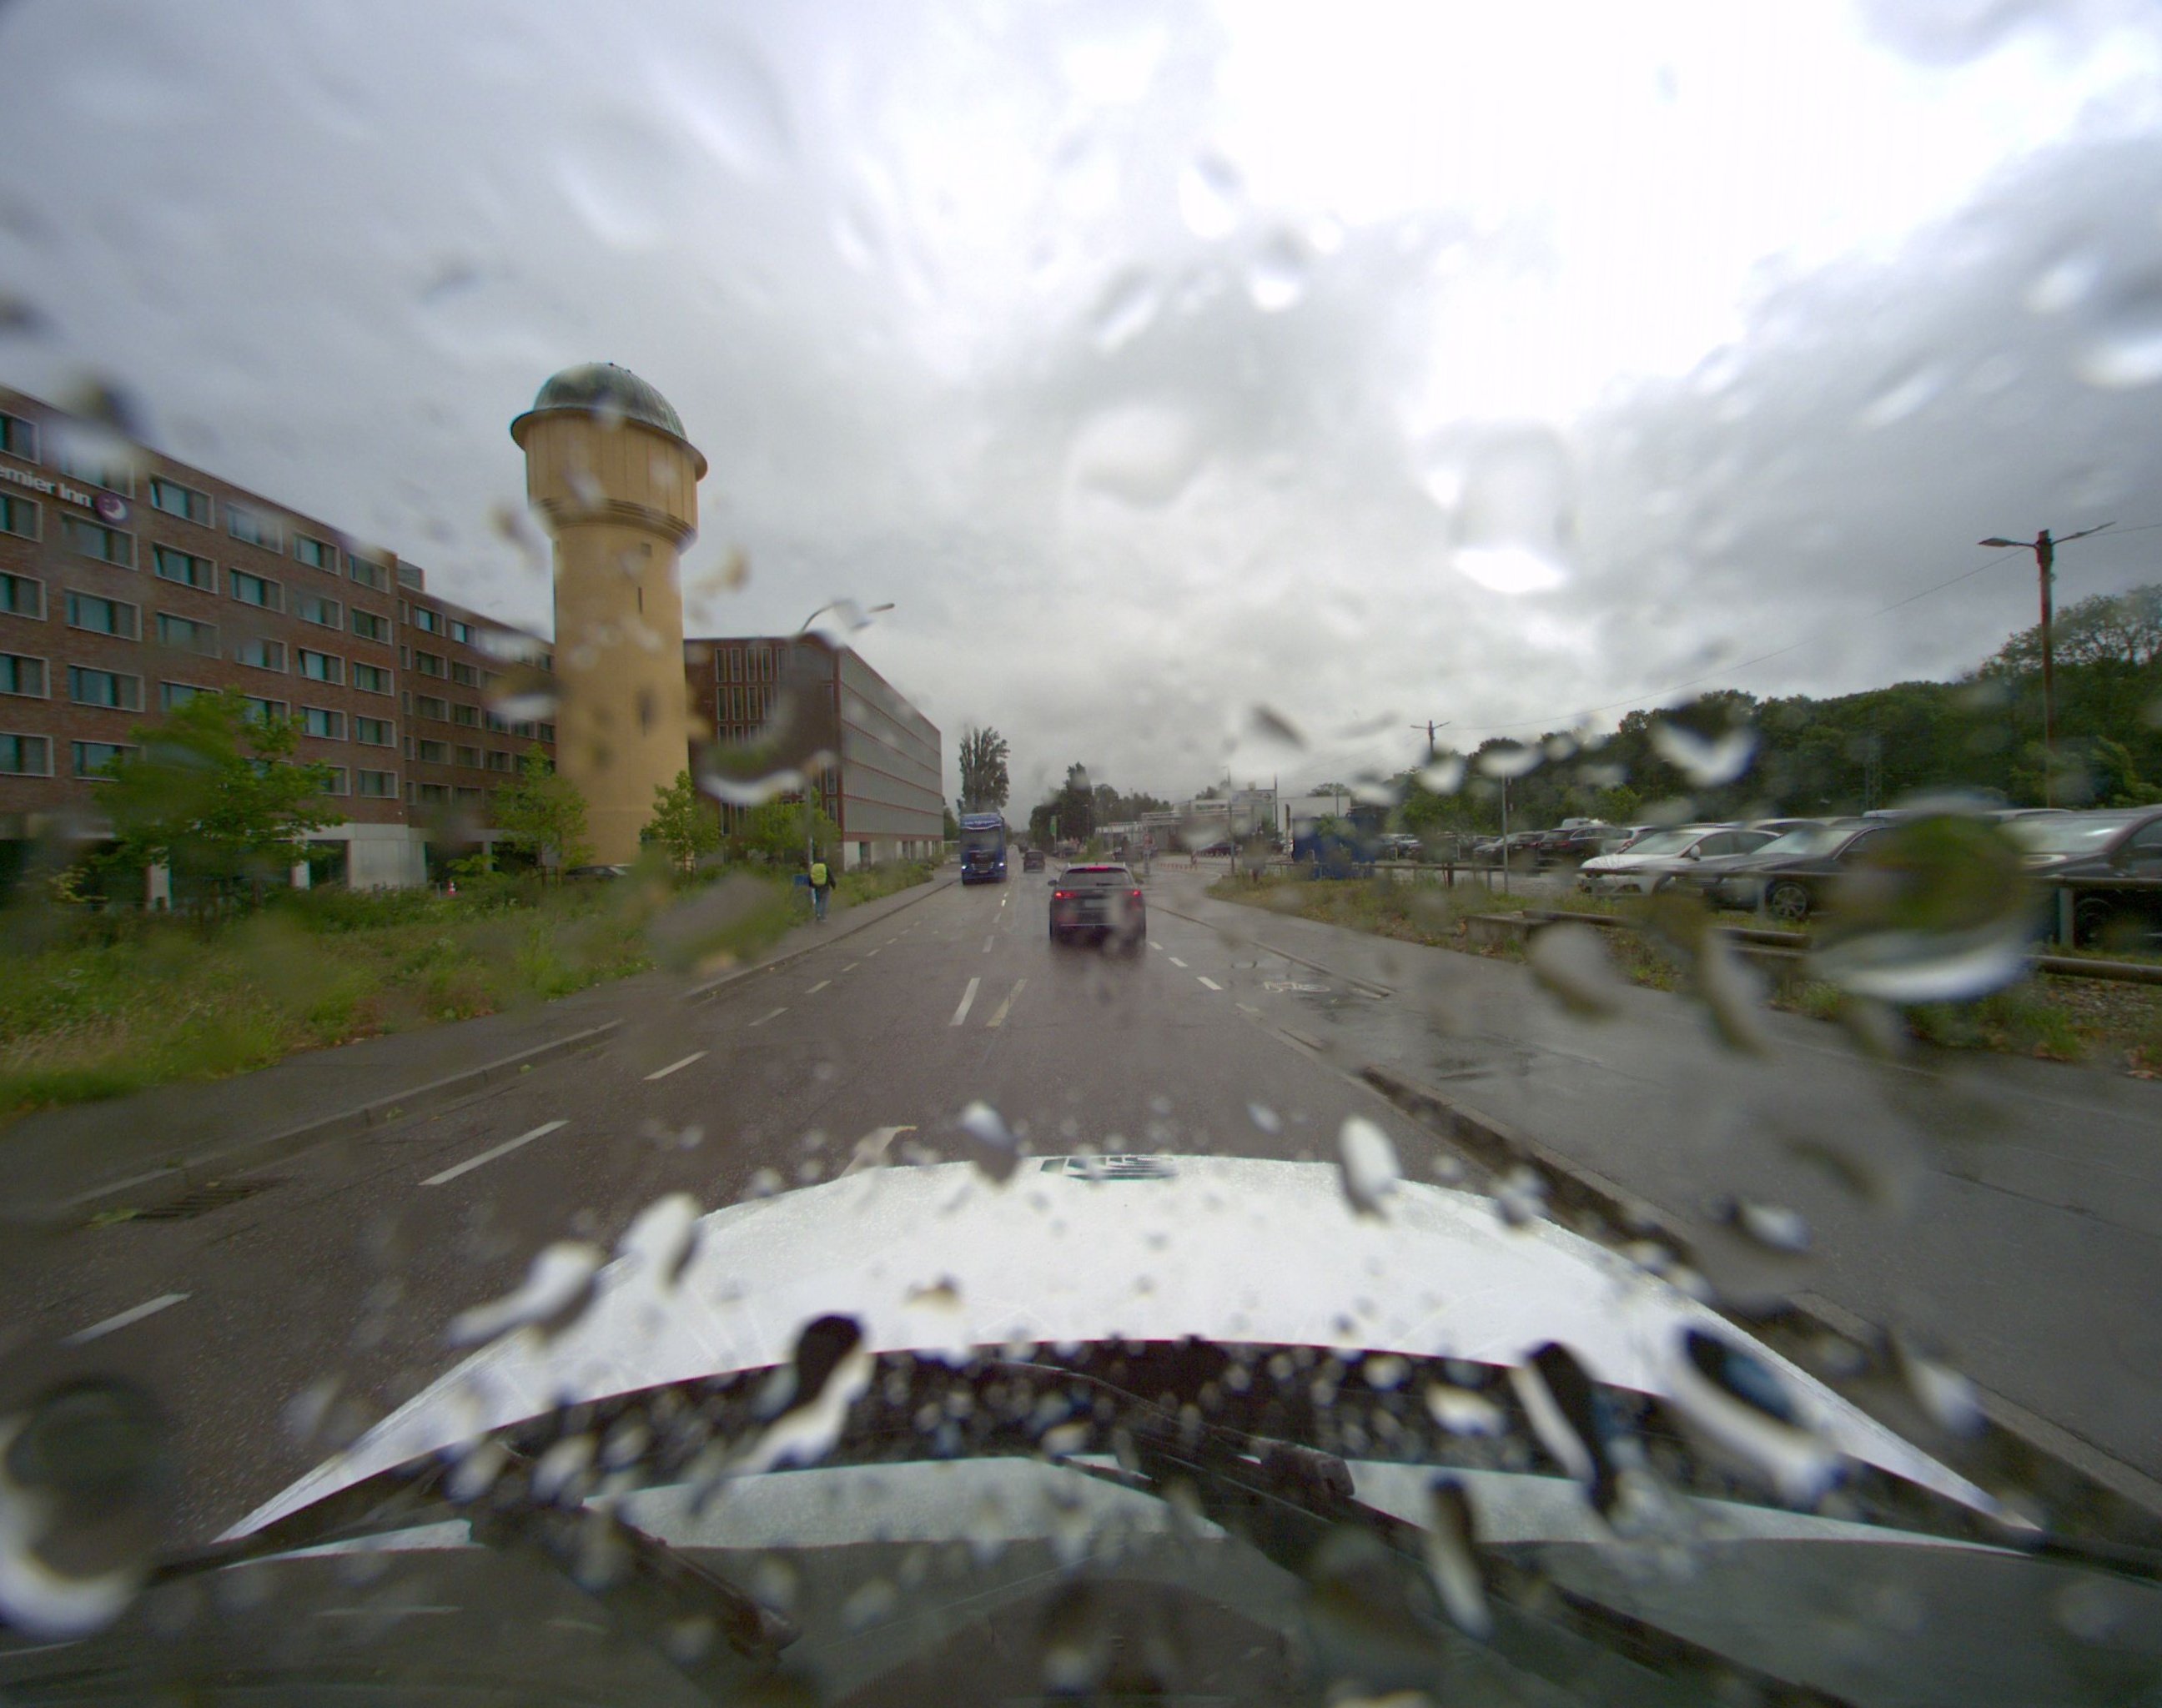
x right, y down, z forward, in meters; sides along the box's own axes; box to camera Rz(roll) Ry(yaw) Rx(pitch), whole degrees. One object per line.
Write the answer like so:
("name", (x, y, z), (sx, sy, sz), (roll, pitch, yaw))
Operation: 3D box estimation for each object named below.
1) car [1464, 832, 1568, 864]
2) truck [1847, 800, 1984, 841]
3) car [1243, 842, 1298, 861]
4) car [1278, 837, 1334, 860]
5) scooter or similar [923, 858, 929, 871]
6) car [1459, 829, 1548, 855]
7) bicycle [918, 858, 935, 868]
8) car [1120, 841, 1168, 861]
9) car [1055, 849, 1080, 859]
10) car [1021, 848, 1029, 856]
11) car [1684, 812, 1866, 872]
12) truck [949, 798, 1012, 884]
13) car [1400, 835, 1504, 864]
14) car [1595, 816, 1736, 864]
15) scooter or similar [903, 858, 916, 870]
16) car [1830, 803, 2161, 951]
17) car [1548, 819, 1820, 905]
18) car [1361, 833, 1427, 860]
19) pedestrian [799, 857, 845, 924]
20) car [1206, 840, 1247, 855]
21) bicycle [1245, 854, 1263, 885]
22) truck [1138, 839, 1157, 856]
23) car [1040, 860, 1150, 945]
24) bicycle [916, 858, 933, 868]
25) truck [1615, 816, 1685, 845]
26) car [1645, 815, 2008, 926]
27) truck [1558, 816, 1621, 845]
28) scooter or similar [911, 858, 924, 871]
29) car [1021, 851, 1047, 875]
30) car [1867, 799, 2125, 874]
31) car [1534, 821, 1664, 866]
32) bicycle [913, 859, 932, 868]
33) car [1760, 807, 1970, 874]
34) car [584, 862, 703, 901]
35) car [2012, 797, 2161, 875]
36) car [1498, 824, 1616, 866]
("car", (19.941, -0.253, 37.421), (3.875, 1.221, 1.648), (-4, -1, 0))
("truck", (46.216, -1.813, 45.317), (2.077, 2.013, 5.274), (-3, 1, -3))
("car", (17.771, -0.236, 76.386), (4.620, 1.716, 2.012), (-1, -1, -11))
("car", (17.978, -0.430, 65.097), (3.820, 1.484, 1.926), (-4, -1, -2))
("scooter or similar", (-14.777, 1.015, 77.582), (0.465, 1.230, 1.317), (-3, 1, -7))
("car", (23.632, -0.665, 45.583), (4.056, 1.071, 1.828), (-4, -1, -7))
("bicycle", (-17.777, 1.047, 93.605), (1.857, 1.077, 0.543), (0, 0, -6))
("car", (6.346, -0.271, 82.554), (4.666, 1.735, 2.127), (-3, -1, -1))
("car", (-2.182, -0.009, 131.081), (4.125, 1.569, 1.764), (-1, -1, -2))
("car", (-12.198, -0.365, 177.571), (1.725, 1.686, 3.894), (-2, 0, -2))
("car", (20.632, -0.350, 24.303), (3.943, 1.490, 1.776), (-4, -1, -3))
("truck", (-5.890, -0.723, 48.321), (3.290, 4.653, 6.020), (-2, 0, -6))
("car", (19.415, -0.230, 42.695), (4.581, 1.221, 1.974), (-4, -1, -6))
("car", (21.484, -0.504, 30.022), (3.943, 1.490, 1.776), (-4, -1, -3))
("scooter or similar", (-17.598, 1.052, 83.495), (1.221, 1.208, 0.418), (-3, 0, 2))
("car", (11.014, 0.206, 9.117), (3.892, 1.423, 1.775), (-1, -1, -7))
("car", (11.015, 0.139, 15.037), (3.768, 1.393, 1.901), (-1, -1, -7))
("car", (23.126, -0.536, 60.292), (4.052, 1.605, 1.924), (-4, -1, -4))
("pedestrian", (-6.945, 0.961, 21.896), (0.907, 1.718, 1.025), (-2, 0, -5))
("car", (15.691, -0.733, 87.821), (3.979, 1.485, 1.997), (-1, -1, -4))
("bicycle", (6.700, 0.586, 31.495), (0.503, 1.084, 1.710), (-3, 0, 16))
("truck", (11.411, -1.159, 140.549), (2.294, 2.659, 7.412), (-3, 1, -1))
("car", (0.296, 0.854, 16.243), (1.888, 1.456, 4.228), (-1, 0, 1))
("bicycle", (-17.799, 1.048, 92.737), (1.857, 1.077, 0.543), (0, 0, -6))
("truck", (45.667, -1.824, 65.507), (2.065, 2.138, 5.084), (-3, 1, 1))
("car", (10.892, 0.225, 12.070), (3.892, 1.423, 1.901), (-1, -1, -7))
("truck", (45.169, -2.013, 72.483), (2.069, 2.401, 5.076), (-3, 1, -5))
("scooter or similar", (-16.218, 1.030, 80.690), (0.461, 1.230, 1.216), (-2, 1, 38))
("car", (-4.015, 0.769, 69.407), (1.991, 1.910, 4.193), (-2, 0, -5))
("car", (21.136, -0.381, 18.932), (3.943, 1.427, 1.885), (-4, -1, -3))
("car", (20.419, -0.392, 32.190), (3.943, 1.490, 1.868), (-4, -1, -3))
("bicycle", (-17.563, 1.048, 90.284), (1.945, 1.077, 0.619), (0, 0, -6))
("car", (20.799, -0.337, 21.708), (3.943, 1.490, 1.776), (-4, -1, -3))
("car", (-20.807, 1.278, 38.906), (4.518, 1.641, 1.995), (-2, 0, -8))
("car", (21.748, -0.428, 16.396), (3.943, 1.427, 1.885), (-4, -1, -3))
("car", (20.239, -0.373, 34.734), (3.943, 1.490, 1.868), (-4, -1, -3))
